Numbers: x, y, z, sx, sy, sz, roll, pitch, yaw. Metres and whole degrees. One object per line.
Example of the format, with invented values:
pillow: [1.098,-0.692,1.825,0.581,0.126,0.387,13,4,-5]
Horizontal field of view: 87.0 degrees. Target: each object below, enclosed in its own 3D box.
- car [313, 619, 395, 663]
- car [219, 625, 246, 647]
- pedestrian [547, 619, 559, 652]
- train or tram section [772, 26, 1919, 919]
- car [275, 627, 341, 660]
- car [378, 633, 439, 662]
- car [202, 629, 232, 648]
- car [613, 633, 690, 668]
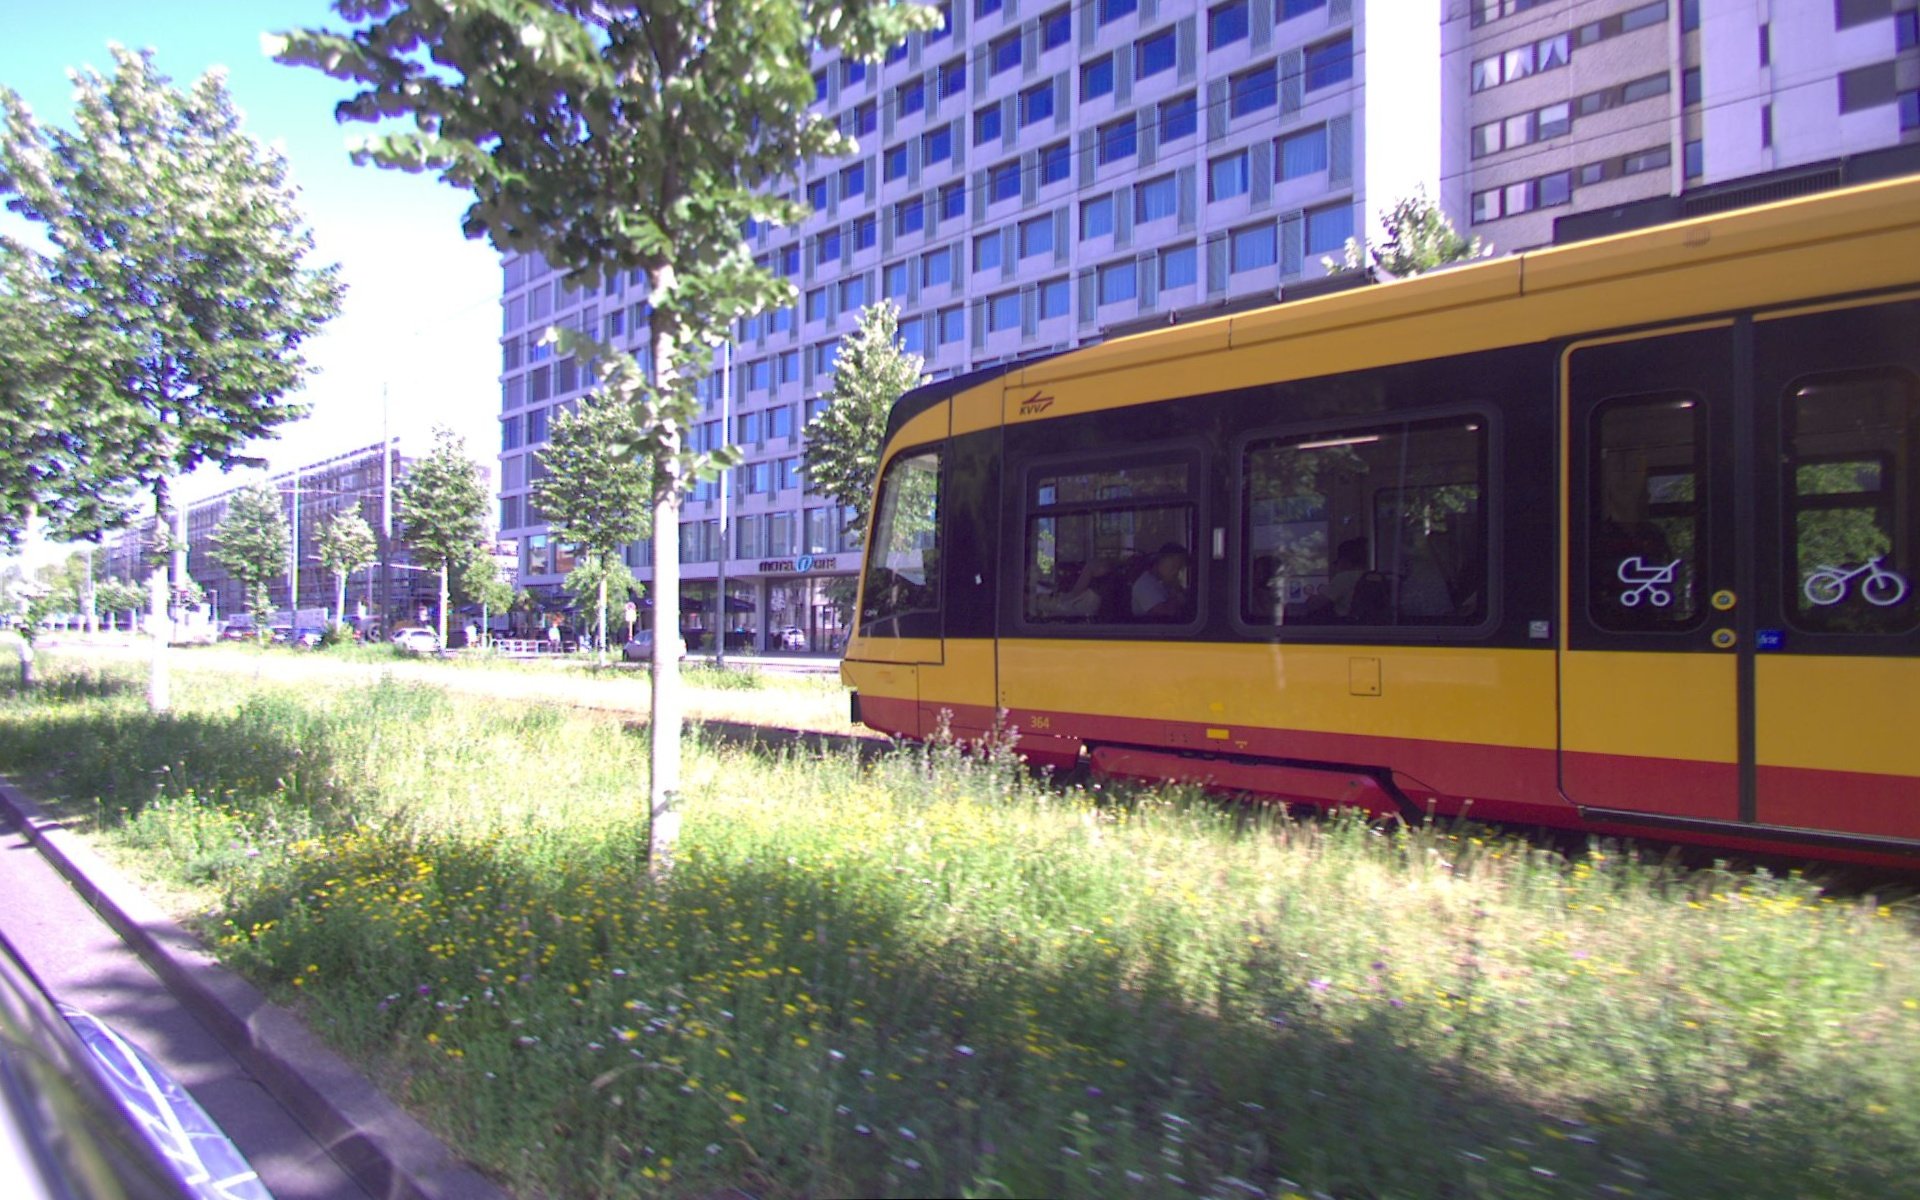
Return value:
car: [-27.108,1.797,45.244,4.284,1.833,1.972,-1,-1,42]
car: [-57.813,2.835,80.467,1.749,1.686,3.899,0,-1,-35]
pedestrian: [-23.221,2.005,57.690,0.501,1.854,0.516,0,-1,-38]
train or tram section: [4.389,-0.522,5.118,14.140,3.697,1.973,-1,-1,40]
car: [-32.159,2.118,49.889,3.998,1.564,1.707,-1,-1,41]
car: [-31.043,2.652,56.906,3.811,1.519,1.804,-1,-1,41]
car: [-66.798,3.412,90.945,1.861,1.586,4.005,0,-1,-41]
car: [-15.051,2.418,49.294,3.771,1.561,1.841,-1,-1,41]
